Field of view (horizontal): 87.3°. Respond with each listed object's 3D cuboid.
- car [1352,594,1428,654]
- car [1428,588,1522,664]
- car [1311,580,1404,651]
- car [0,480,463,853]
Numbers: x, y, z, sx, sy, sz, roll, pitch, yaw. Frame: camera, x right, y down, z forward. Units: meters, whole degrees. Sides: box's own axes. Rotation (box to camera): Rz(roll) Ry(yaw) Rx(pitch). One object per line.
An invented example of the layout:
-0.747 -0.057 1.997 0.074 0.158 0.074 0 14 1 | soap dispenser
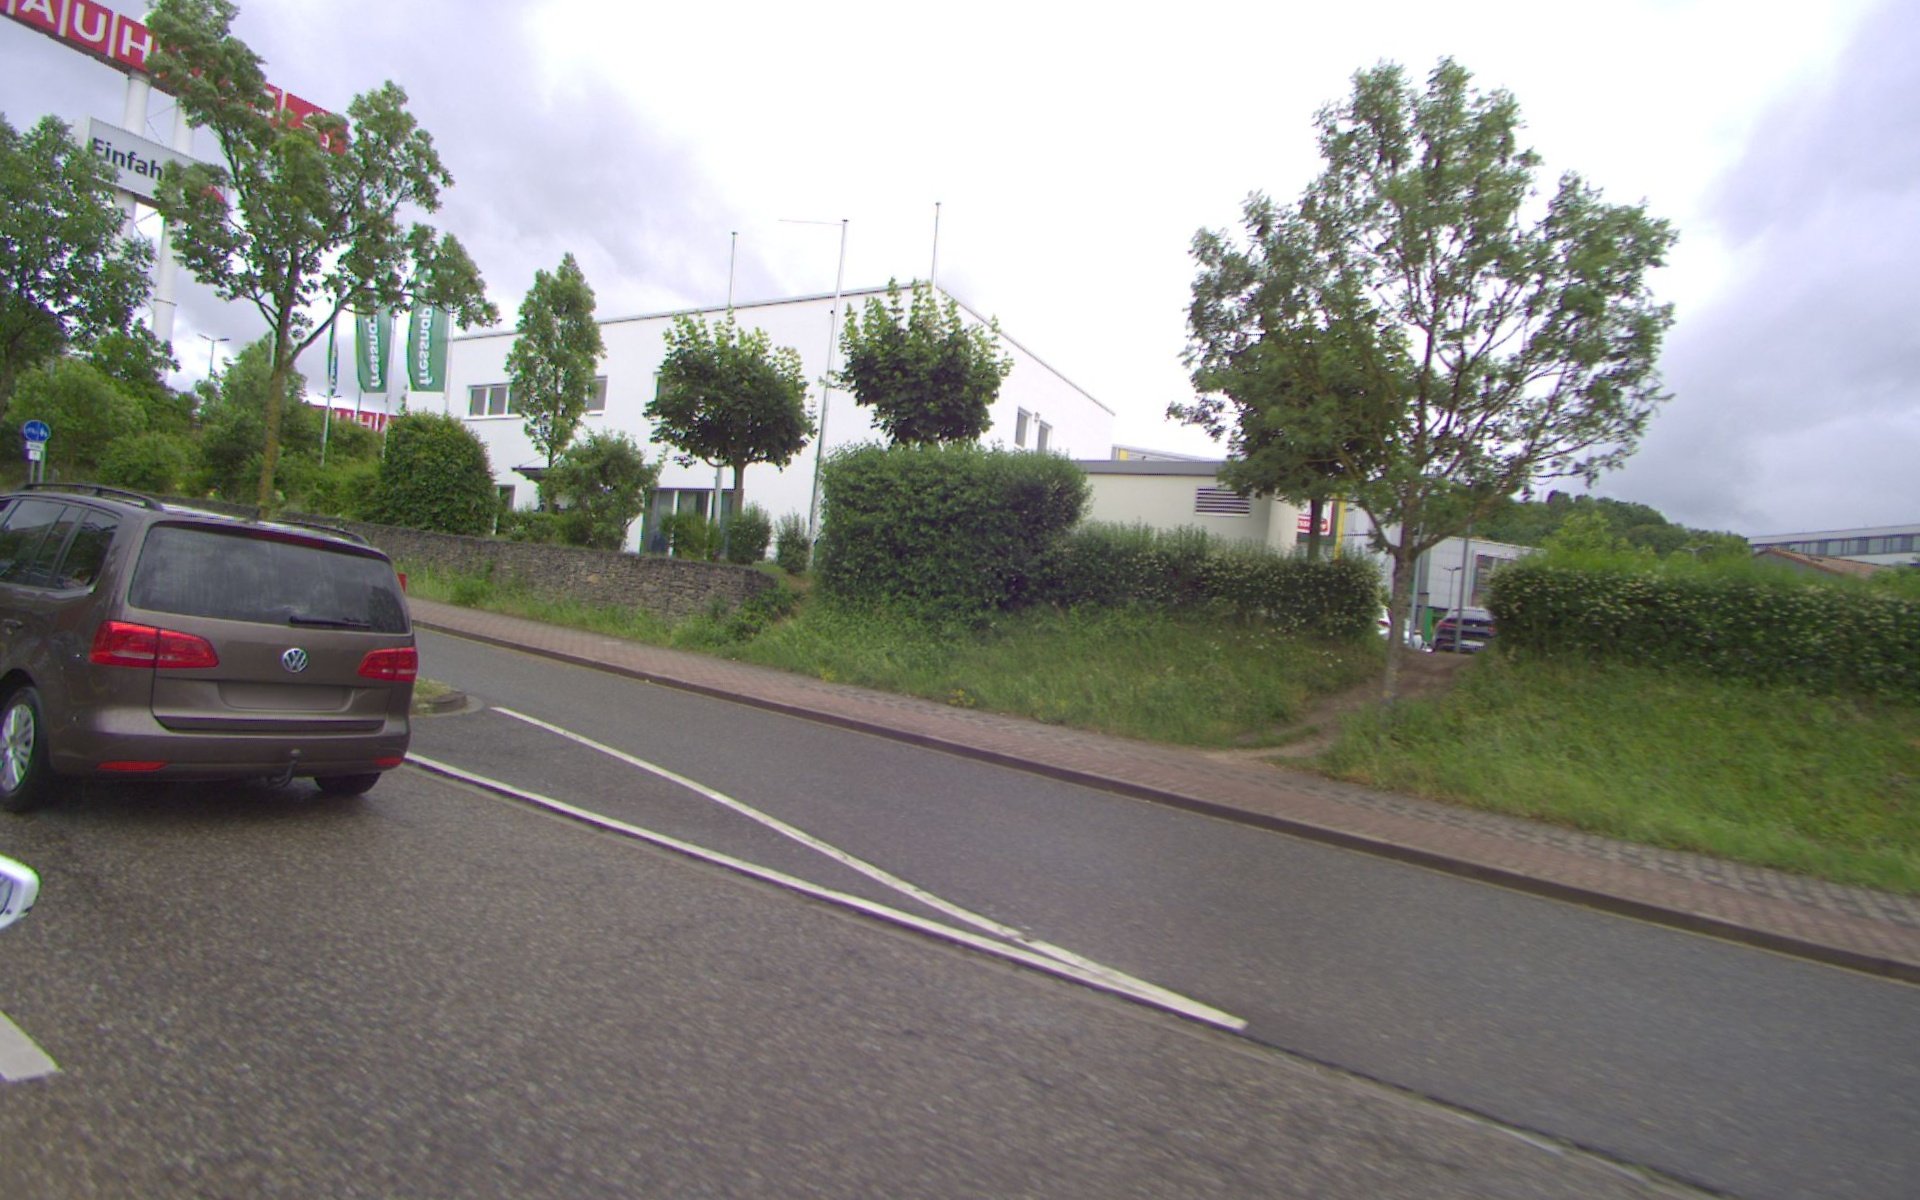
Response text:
14.385 0.793 33.527 1.920 1.702 3.991 6 1 27 | car
13.626 0.680 26.647 1.920 1.702 3.991 6 1 27 | car
11.308 0.437 28.457 1.920 1.702 3.991 6 1 27 | car
-5.200 0.193 6.204 4.147 1.599 1.689 7 -2 31 | car
